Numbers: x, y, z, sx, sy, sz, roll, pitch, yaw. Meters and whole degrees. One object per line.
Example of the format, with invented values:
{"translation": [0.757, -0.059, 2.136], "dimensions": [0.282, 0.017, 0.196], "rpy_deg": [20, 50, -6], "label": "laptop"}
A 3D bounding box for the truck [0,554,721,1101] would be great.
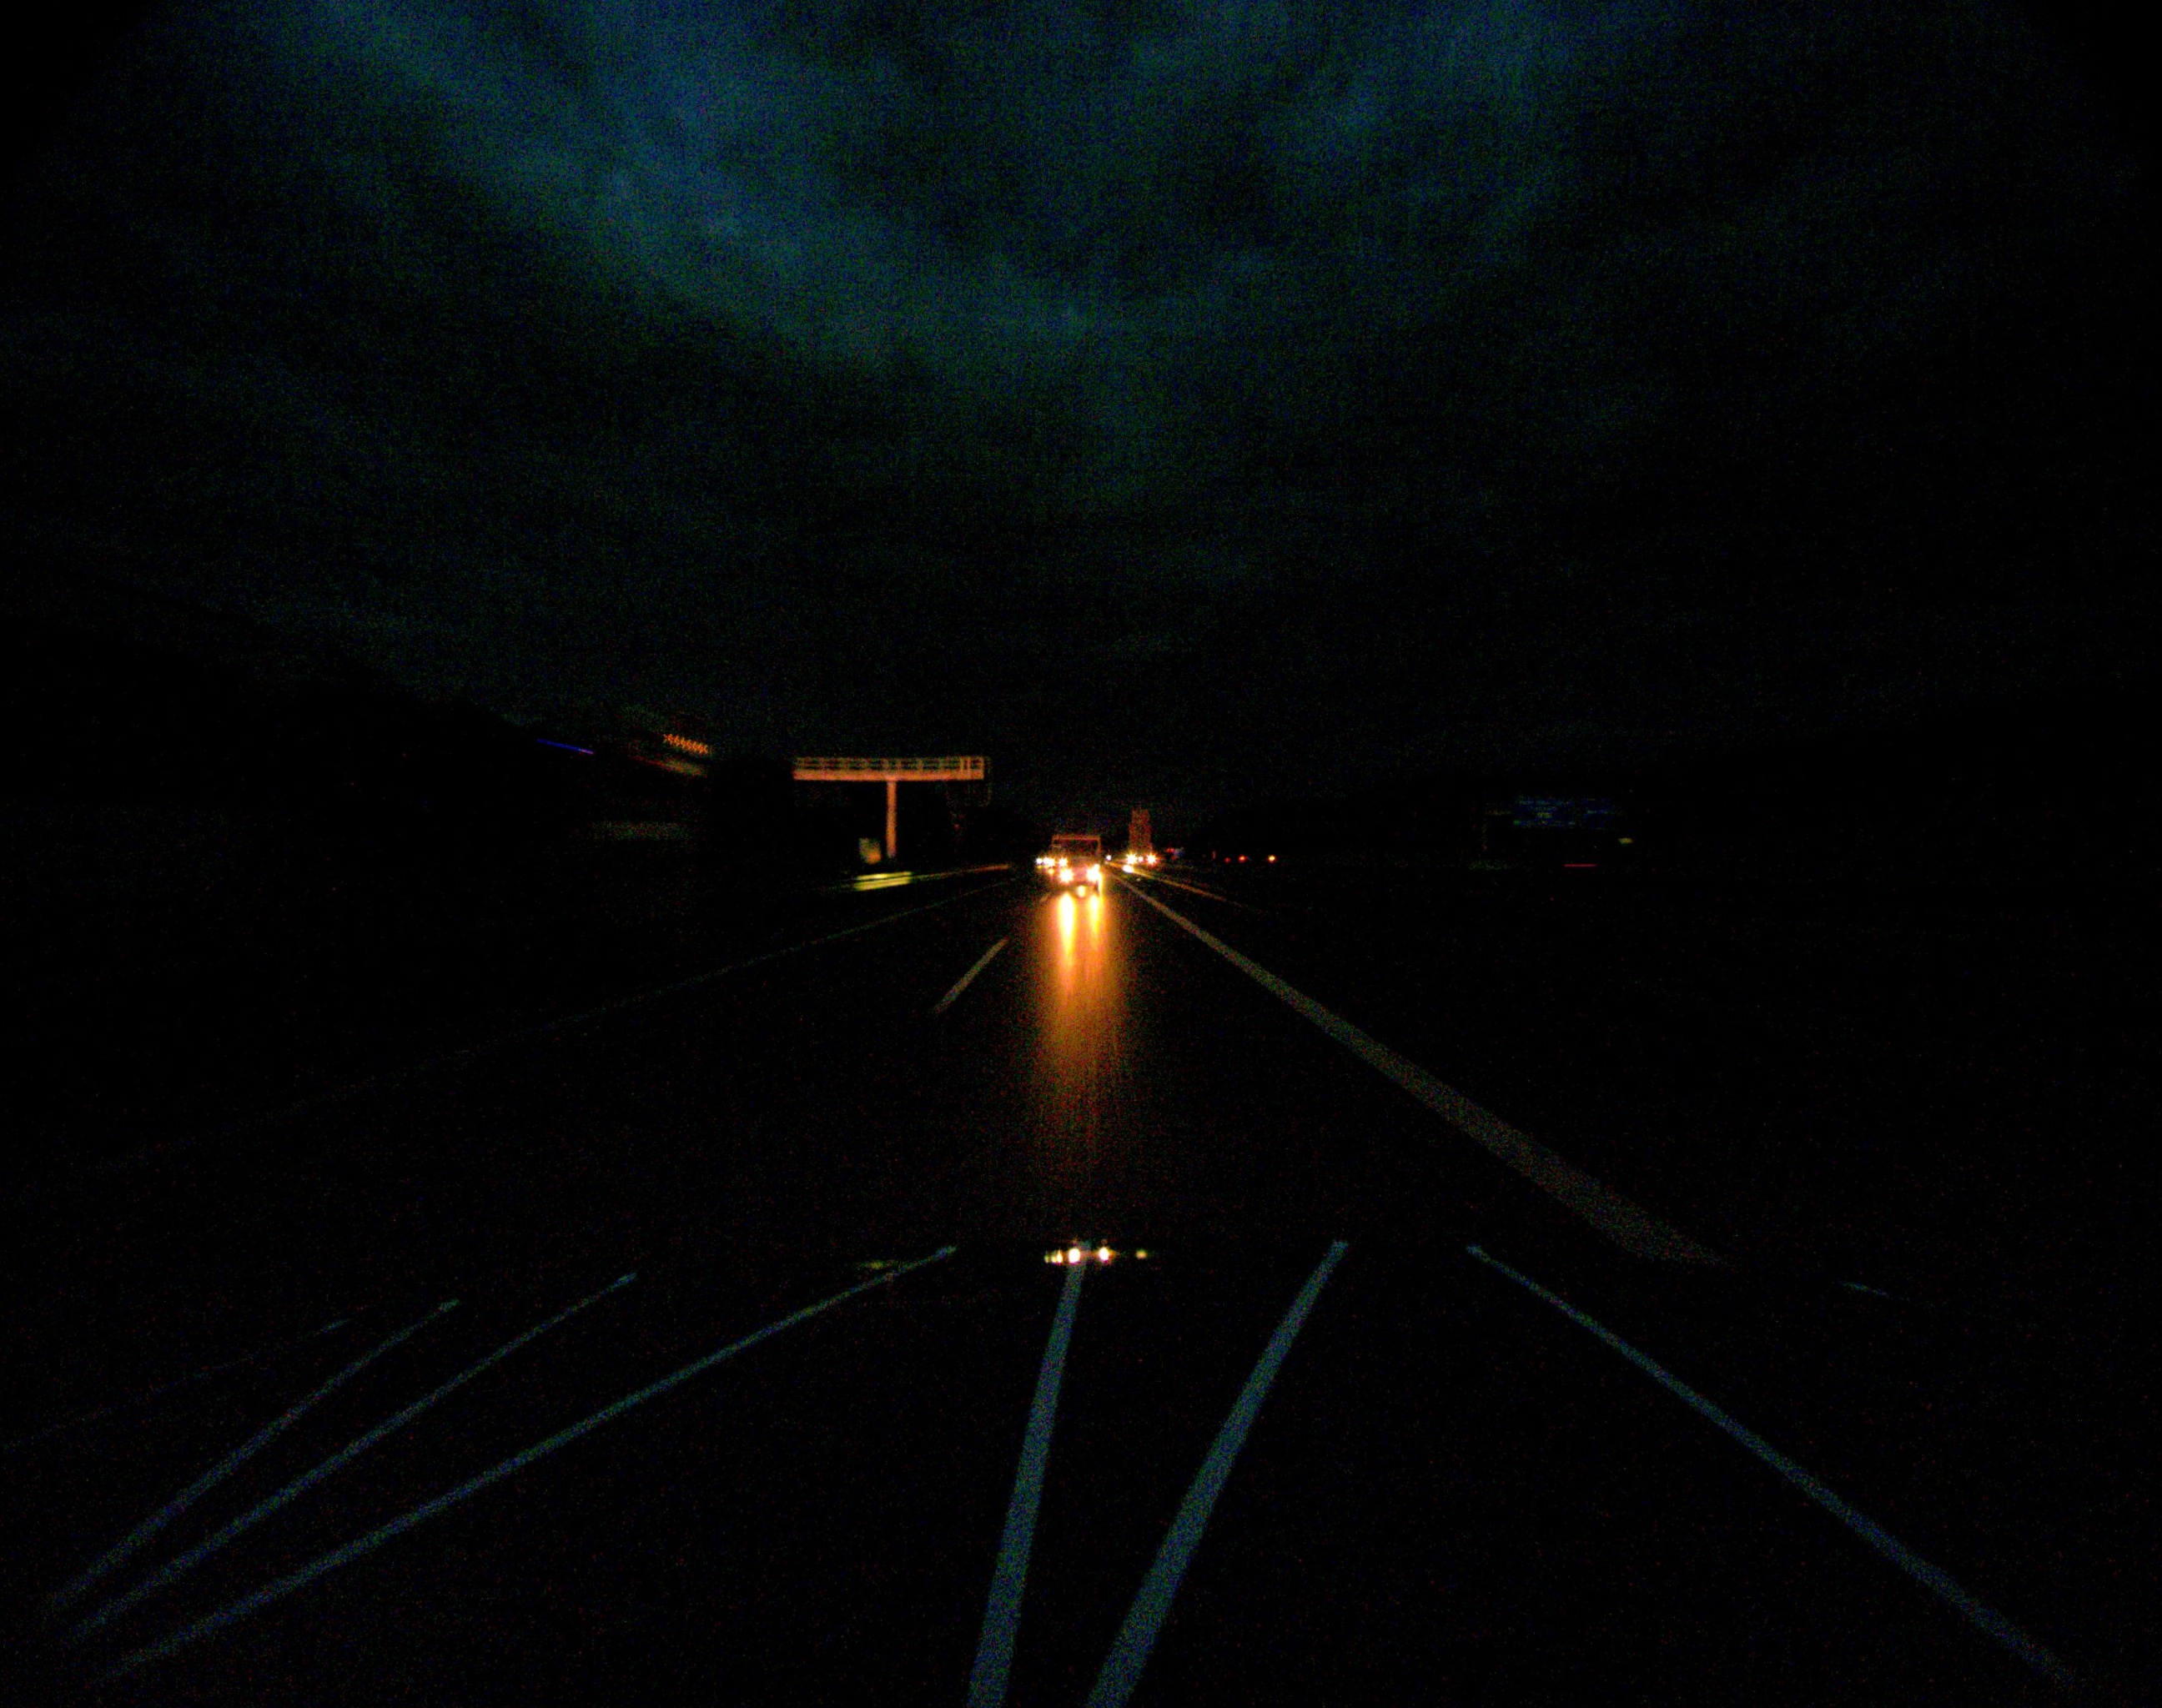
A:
{"translation": [-7.189, -0.193, 8.872], "dimensions": [2.795, 4.035, 6.411], "rpy_deg": [-1, 0, 0], "label": "truck"}

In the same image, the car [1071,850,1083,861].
{"translation": [-0.805, 0.302, 144.847], "dimensions": [1.999, 2.002, 3.999], "rpy_deg": [1, 1, -2], "label": "car"}

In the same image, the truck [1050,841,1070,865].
{"translation": [-2.597, -0.127, 96.218], "dimensions": [2.274, 2.954, 6.631], "rpy_deg": [-2, 0, 0], "label": "truck"}

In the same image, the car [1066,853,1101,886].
{"translation": [0.137, 0.744, 38.660], "dimensions": [1.669, 1.551, 3.756], "rpy_deg": [1, 0, 1], "label": "car"}

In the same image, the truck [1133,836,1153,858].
{"translation": [12.266, -1.395, 151.384], "dimensions": [3.046, 4.276, 9.890], "rpy_deg": [1, 1, 0], "label": "truck"}

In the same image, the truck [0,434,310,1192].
{"translation": [-7.309, -0.195, 1.097], "dimensions": [2.920, 4.087, 9.149], "rpy_deg": [-1, 0, 0], "label": "truck"}

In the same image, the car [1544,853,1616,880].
{"translation": [28.727, 0.699, 43.912], "dimensions": [1.672, 1.485, 3.810], "rpy_deg": [-1, 0, 1], "label": "car"}
